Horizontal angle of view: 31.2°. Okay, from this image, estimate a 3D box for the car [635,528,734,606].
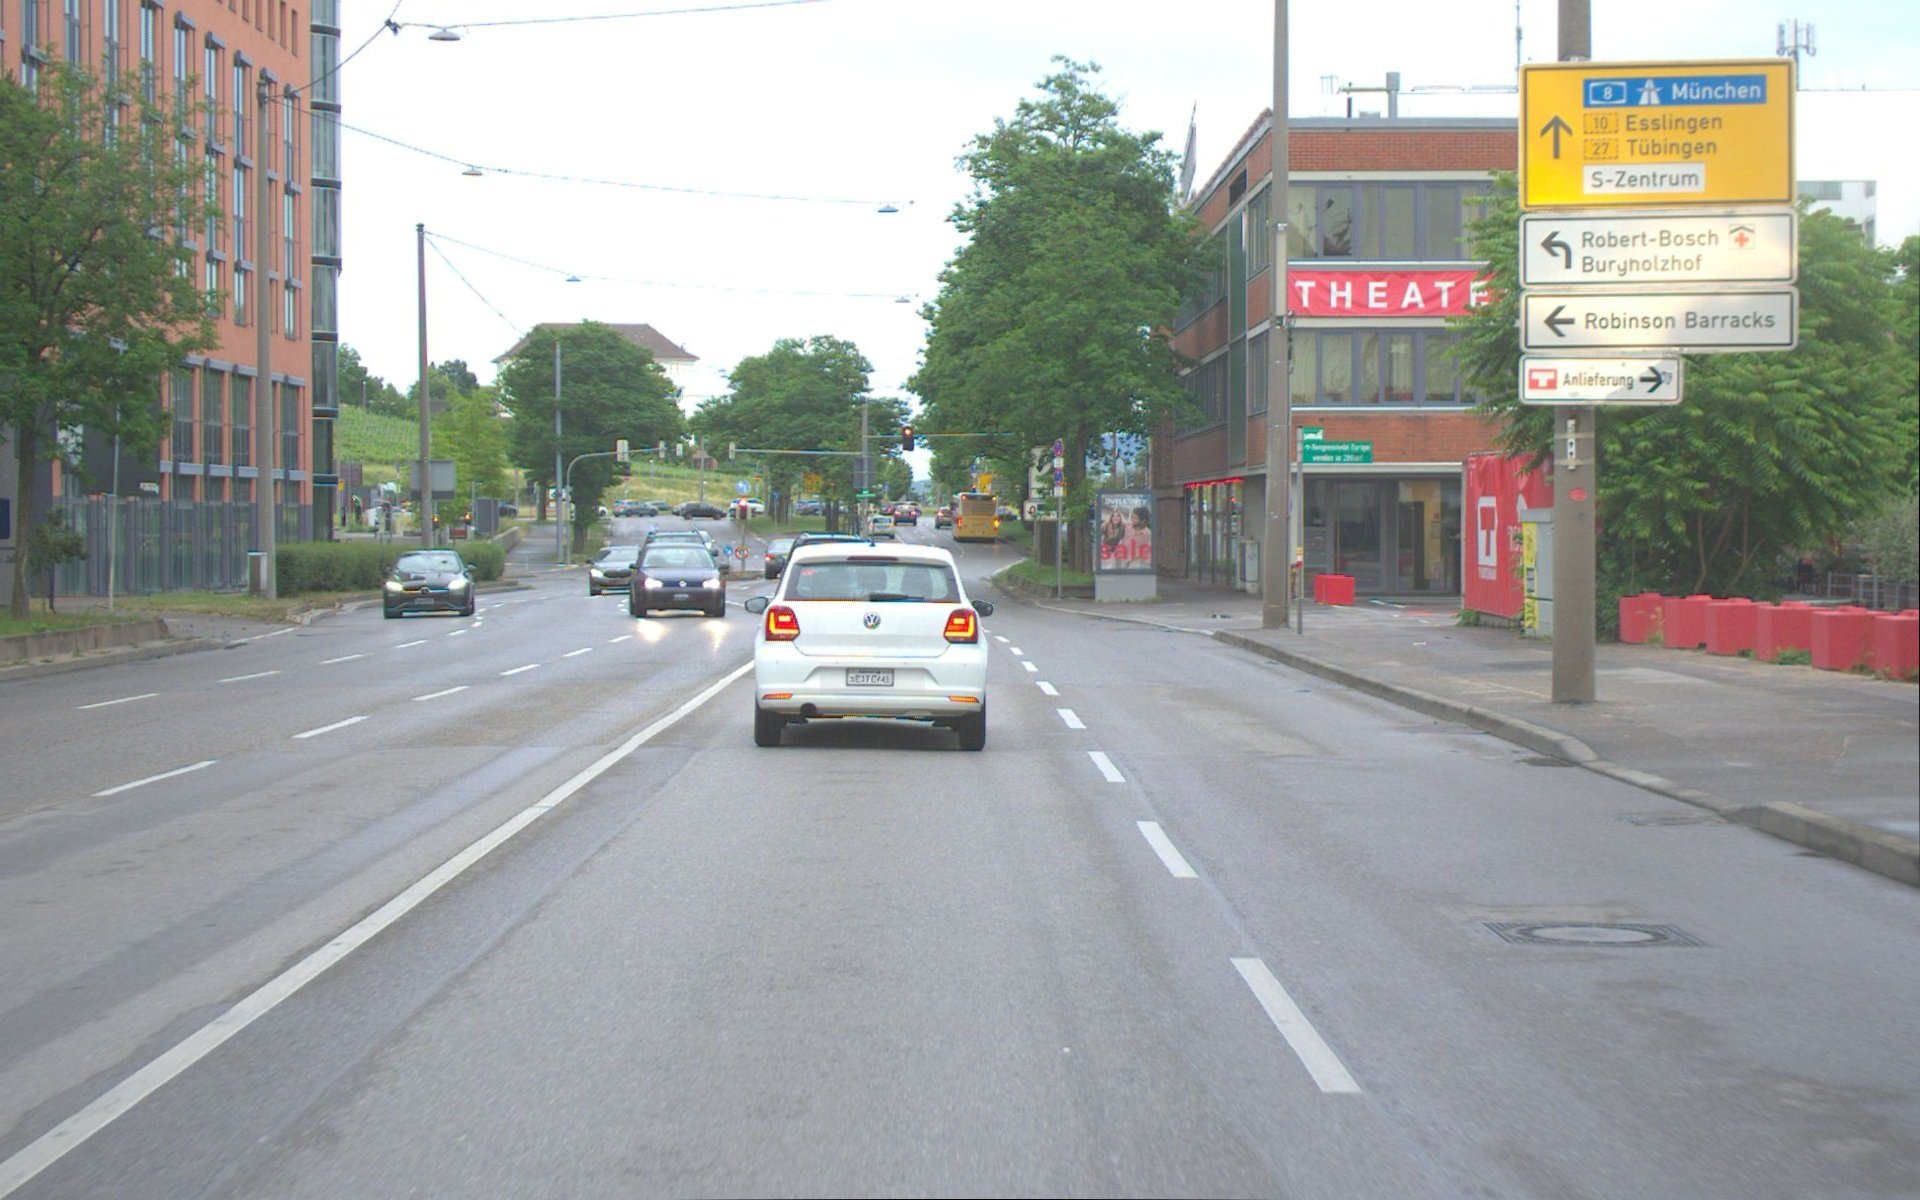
[{"bbox_3d":[-5.345,-0.666,67.127,1.659,1.481,3.820,0,1,-1],"label":"car"}]

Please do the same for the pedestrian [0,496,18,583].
[{"bbox_3d":[-20.993,-1.277,73.409,1.315,1.817,1.439,-2,-1,0],"label":"pedestrian"}]

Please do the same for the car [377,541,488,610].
[{"bbox_3d":[-11.380,-0.554,74.375,1.621,1.319,4.446,-2,2,1],"label":"car"}]

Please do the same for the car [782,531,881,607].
[{"bbox_3d":[-2.693,-0.677,72.749,1.993,1.568,4.000,0,1,-1],"label":"car"}]

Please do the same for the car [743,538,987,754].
[{"bbox_3d":[-0.764,0.283,25.484,1.671,1.469,3.780,0,1,-3],"label":"car"}]

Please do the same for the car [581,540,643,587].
[{"bbox_3d":[-10.464,-1.111,103.520,1.712,1.360,4.001,-1,1,-4],"label":"car"}]
